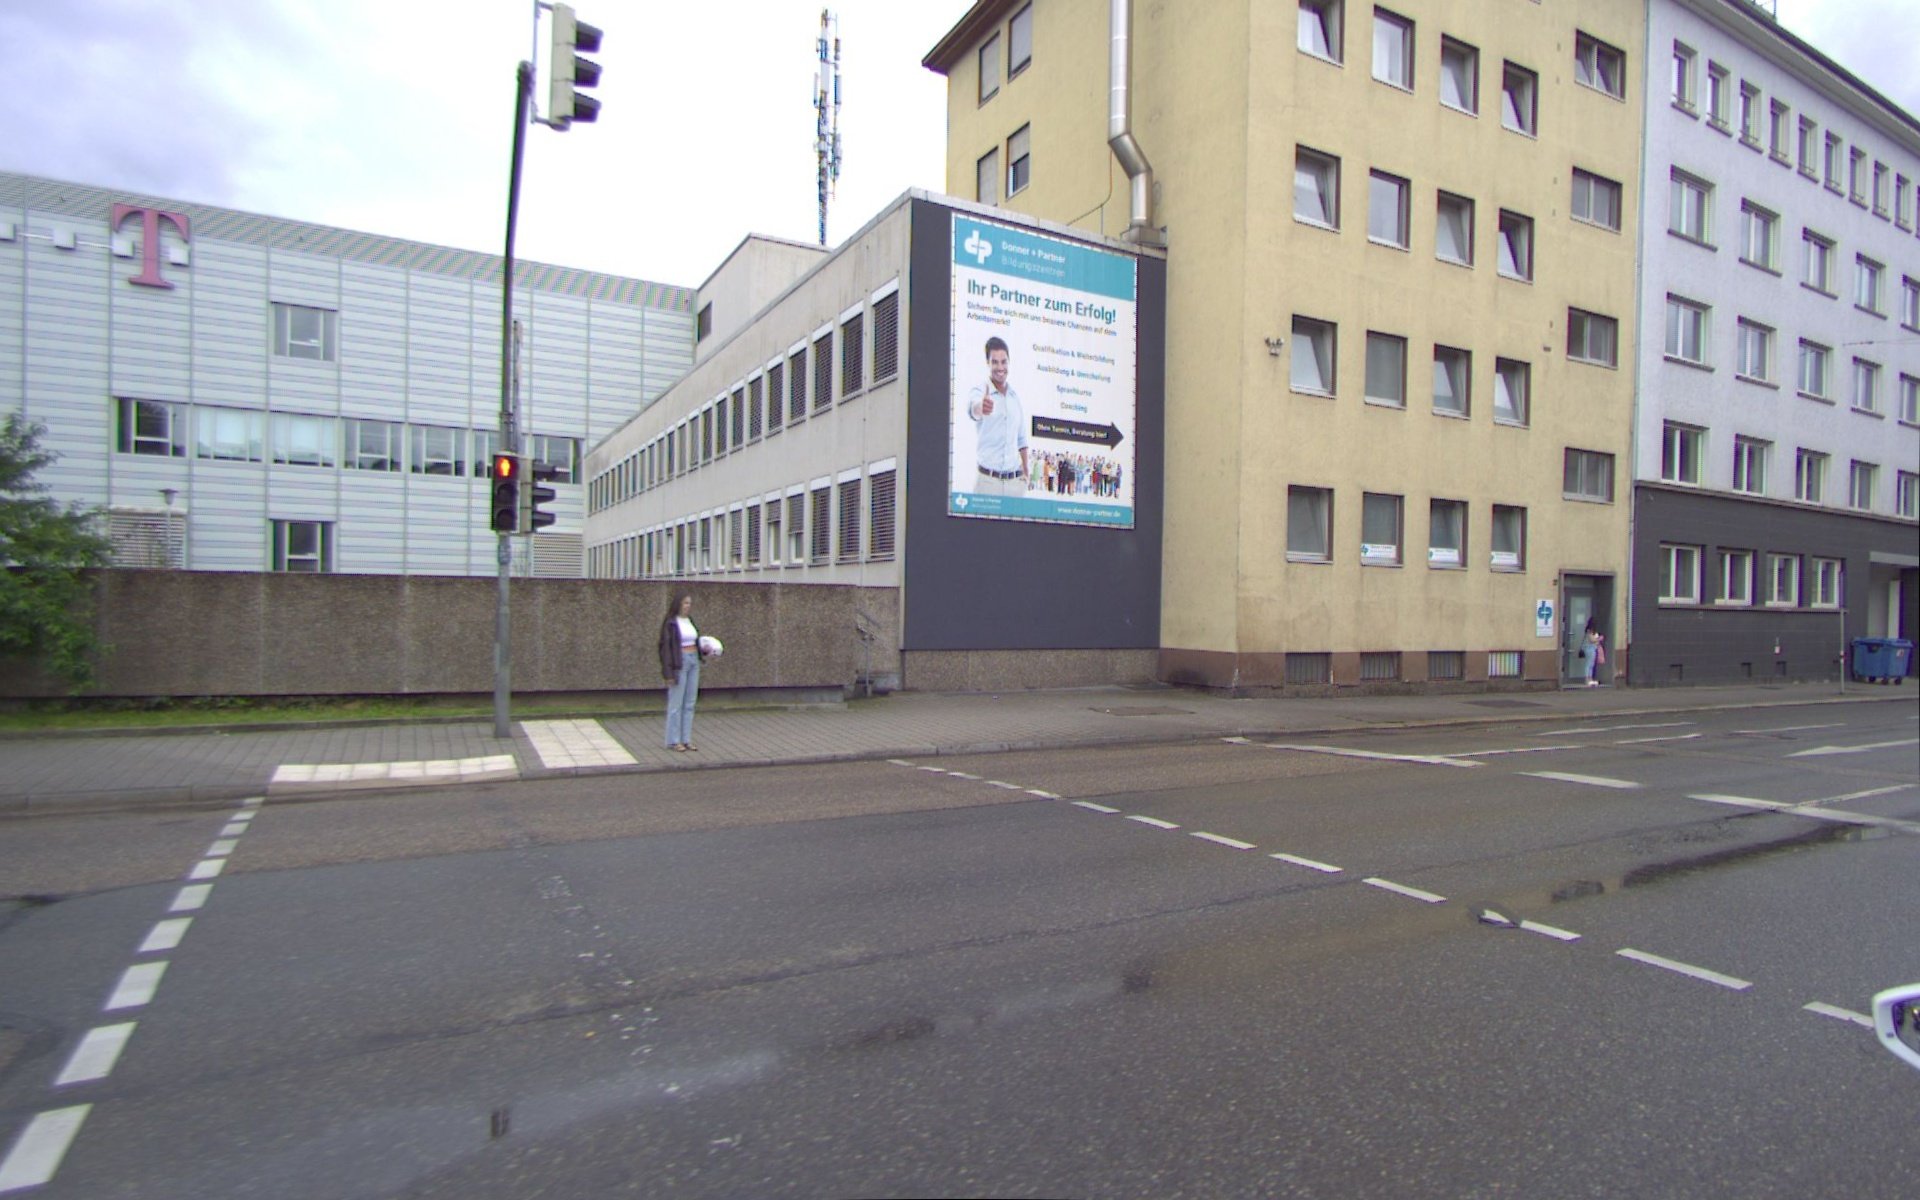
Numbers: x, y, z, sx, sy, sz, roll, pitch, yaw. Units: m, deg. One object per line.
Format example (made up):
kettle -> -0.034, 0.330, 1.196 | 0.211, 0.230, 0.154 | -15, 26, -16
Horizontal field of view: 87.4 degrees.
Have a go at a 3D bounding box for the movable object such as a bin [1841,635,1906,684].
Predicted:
movable object such as a bin -> 27.184, 1.760, 29.907 | 1.176, 1.342, 1.071 | 2, 1, -29

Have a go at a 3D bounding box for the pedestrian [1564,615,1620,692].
pedestrian -> 14.544, 1.224, 23.115 | 0.801, 1.712, 0.714 | 2, 1, -28

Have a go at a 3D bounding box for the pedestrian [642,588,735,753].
pedestrian -> -2.984, 0.744, 11.005 | 0.801, 1.712, 0.714 | 2, 1, -28
